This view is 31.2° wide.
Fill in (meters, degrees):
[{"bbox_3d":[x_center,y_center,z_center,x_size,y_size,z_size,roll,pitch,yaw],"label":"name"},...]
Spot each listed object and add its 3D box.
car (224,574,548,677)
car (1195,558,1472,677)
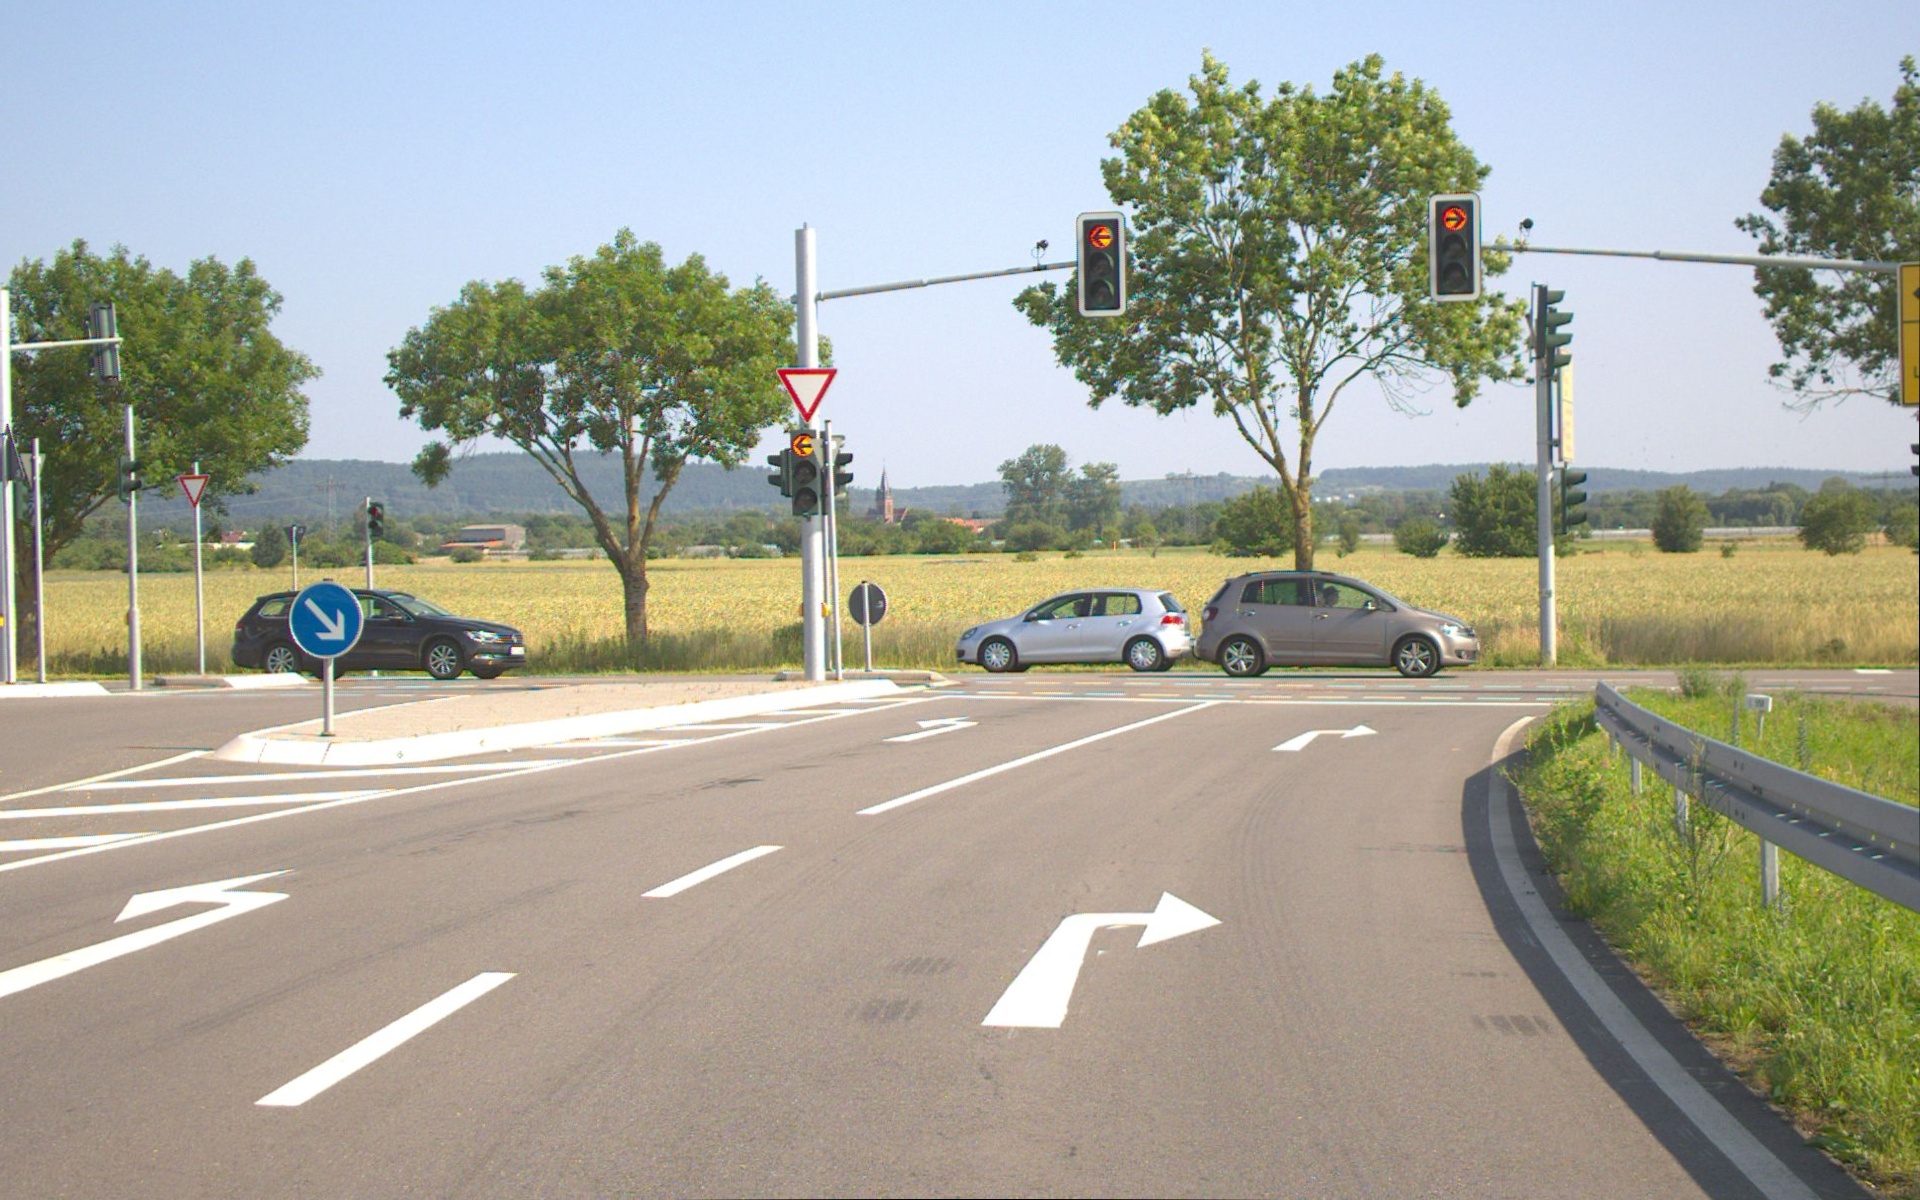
[{"bbox_3d":[-9.093,0.399,54.572,4.675,1.513,1.921,0,2,12],"label":"car"},{"bbox_3d":[5.583,0.250,51.171,3.957,1.662,1.763,1,0,11],"label":"car"}]
